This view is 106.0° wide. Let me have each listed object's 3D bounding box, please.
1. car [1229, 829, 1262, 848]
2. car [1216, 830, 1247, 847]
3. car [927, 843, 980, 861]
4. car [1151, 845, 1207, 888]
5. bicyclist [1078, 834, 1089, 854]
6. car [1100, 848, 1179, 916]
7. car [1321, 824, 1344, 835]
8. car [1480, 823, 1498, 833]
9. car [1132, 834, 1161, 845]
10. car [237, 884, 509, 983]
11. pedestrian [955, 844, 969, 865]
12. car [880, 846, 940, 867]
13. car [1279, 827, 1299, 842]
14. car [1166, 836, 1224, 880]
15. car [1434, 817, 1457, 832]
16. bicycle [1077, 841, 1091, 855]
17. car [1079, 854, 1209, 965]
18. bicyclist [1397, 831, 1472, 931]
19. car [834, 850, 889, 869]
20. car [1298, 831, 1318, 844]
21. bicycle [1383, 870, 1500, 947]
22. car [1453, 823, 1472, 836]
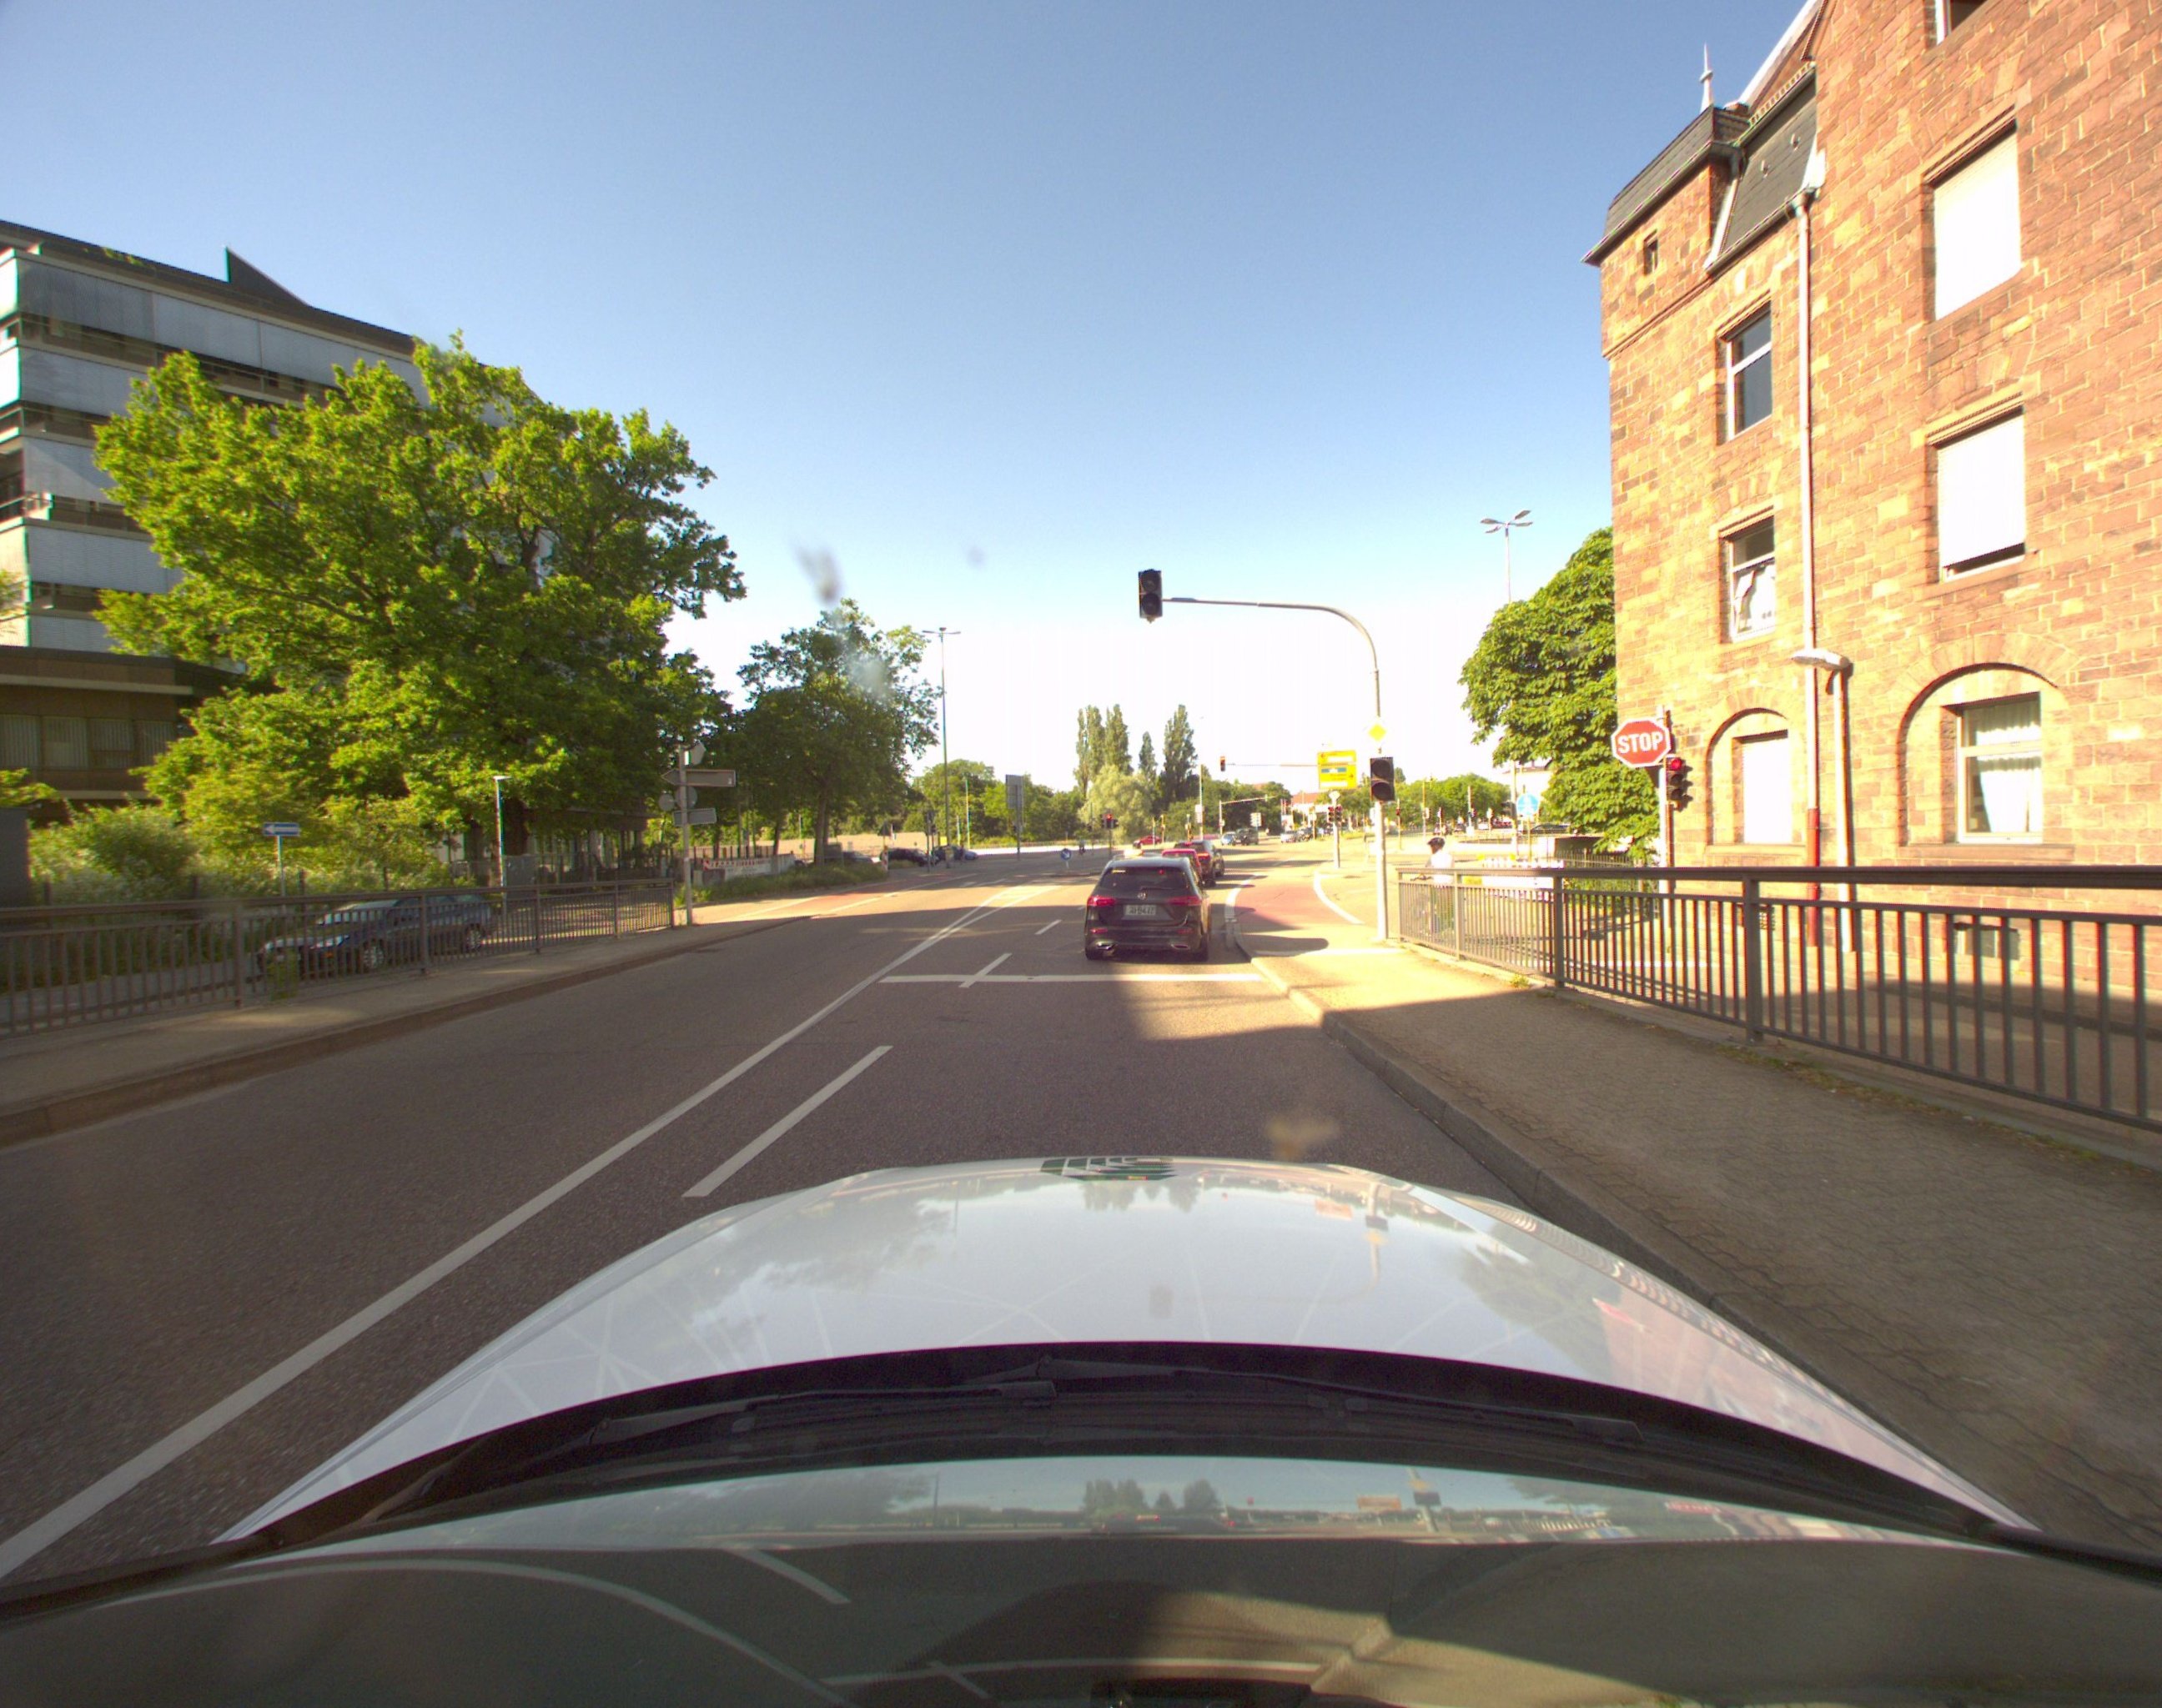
[{"bbox_3d":[18.382,-1.773,90.716,1.974,1.935,4.883,-1,1,31],"label":"car"},{"bbox_3d":[17.986,-1.881,97.213,1.974,1.864,4.883,-1,1,31],"label":"car"},{"bbox_3d":[-11.440,-0.155,73.170,4.395,1.438,1.837,-2,1,26],"label":"car"},{"bbox_3d":[3.786,0.420,30.976,1.808,1.479,4.012,0,1,11],"label":"car"},{"bbox_3d":[0.214,-0.921,72.806,0.682,1.701,1.203,-1,2,15],"label":"bicyclist"},{"bbox_3d":[1.565,0.662,21.324,1.811,1.489,4.006,-2,1,5],"label":"car"},{"bbox_3d":[35.462,-3.397,114.698,1.974,1.453,4.026,-1,1,34],"label":"car"},{"bbox_3d":[70.416,-4.551,140.559,1.974,1.640,4.026,-2,1,37],"label":"car"},{"bbox_3d":[9.782,-2.120,122.012,3.985,1.548,1.995,-2,1,-8],"label":"car"},{"bbox_3d":[-14.711,1.566,17.353,1.814,1.503,4.451,-2,1,0],"label":"car"},{"bbox_3d":[-9.198,0.041,62.997,0.683,1.538,1.368,-1,-4,6],"label":"pedestrian"},{"bbox_3d":[-13.321,0.196,63.382,4.394,1.438,1.838,-2,1,30],"label":"car"},{"bbox_3d":[24.615,-2.299,96.200,1.805,1.582,4.125,-2,1,20],"label":"car"},{"bbox_3d":[5.154,0.128,36.375,1.854,1.790,4.435,0,2,17],"label":"car"},{"bbox_3d":[48.441,-3.842,108.221,1.974,1.794,4.025,-1,-1,37],"label":"car"},{"bbox_3d":[0.269,-0.533,72.968,0.682,1.202,2.337,-1,2,16],"label":"bicycle"},{"bbox_3d":[1.099,0.780,13.169,1.741,1.494,4.007,-2,-1,7],"label":"car"},{"bbox_3d":[6.216,0.454,14.375,0.798,1.705,1.083,0,0,-6],"label":"bicyclist"},{"bbox_3d":[-18.197,0.453,67.532,4.394,1.438,1.838,-2,1,30],"label":"car"},{"bbox_3d":[29.493,-2.103,105.681,1.707,1.582,4.028,-1,1,25],"label":"car"},{"bbox_3d":[6.218,0.901,14.238,0.798,1.110,2.397,-1,1,-6],"label":"bicycle"},{"bbox_3d":[58.496,-3.773,124.976,1.974,1.793,4.026,-2,1,34],"label":"car"}]
